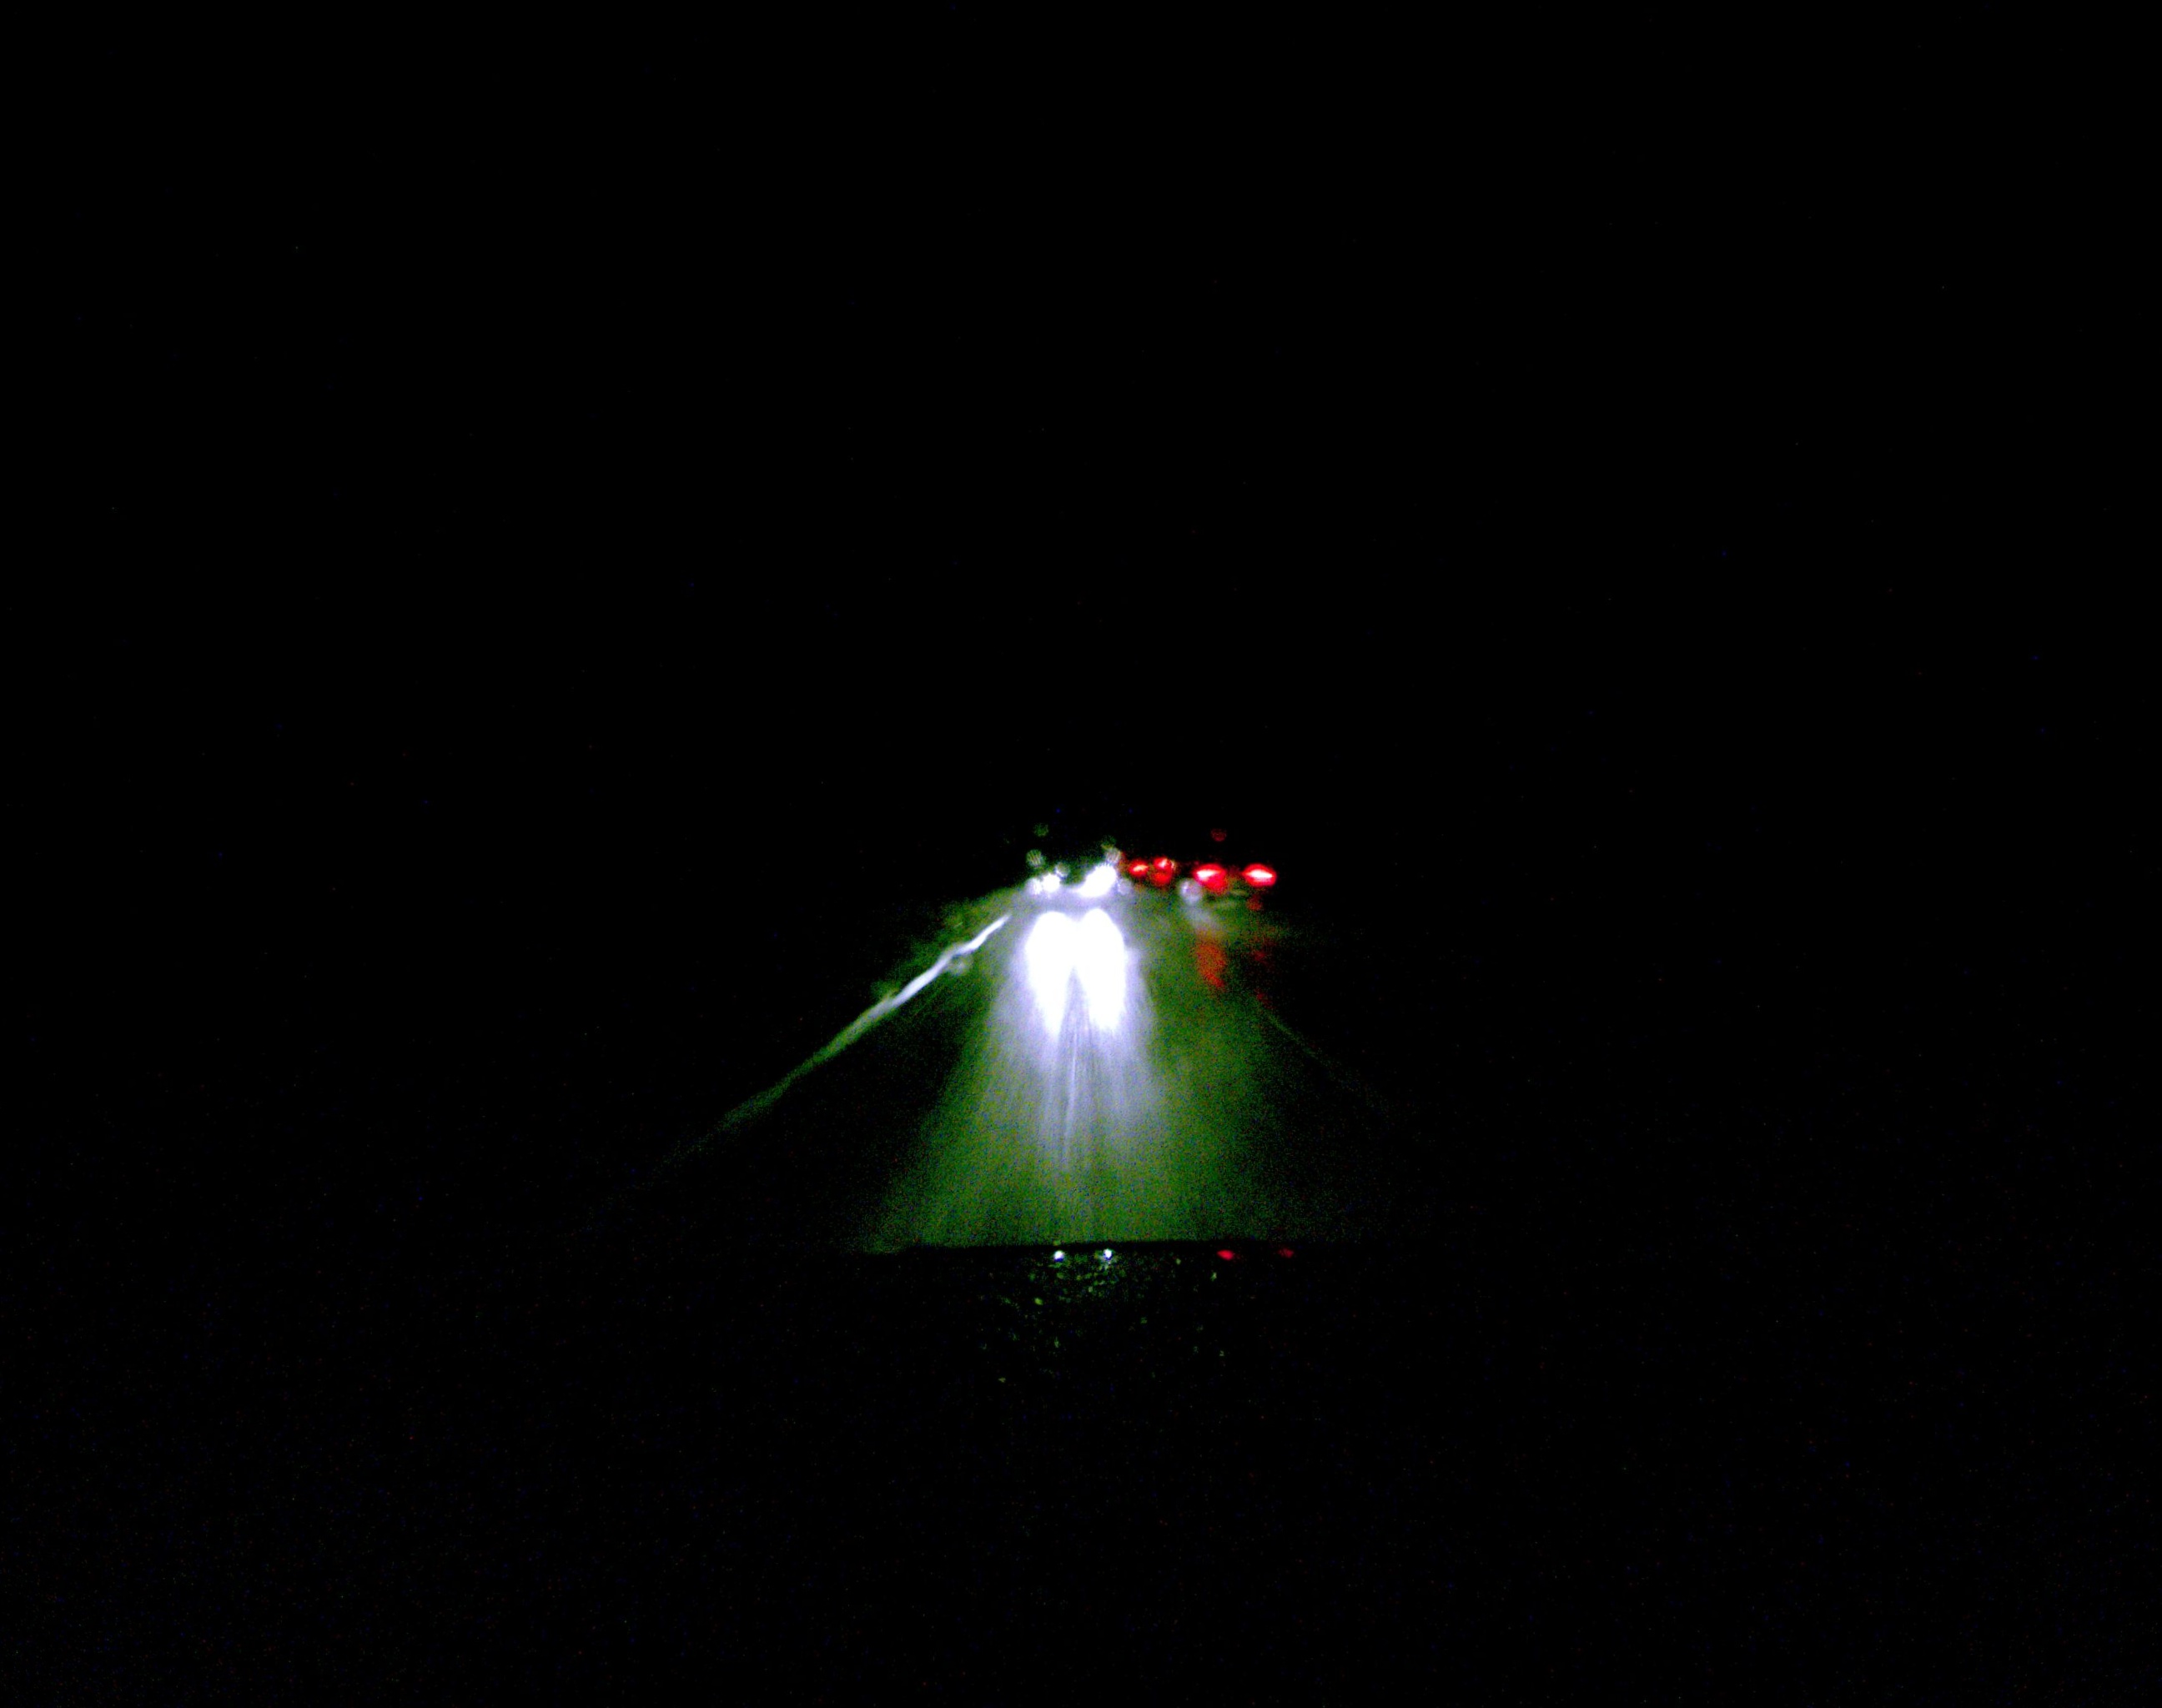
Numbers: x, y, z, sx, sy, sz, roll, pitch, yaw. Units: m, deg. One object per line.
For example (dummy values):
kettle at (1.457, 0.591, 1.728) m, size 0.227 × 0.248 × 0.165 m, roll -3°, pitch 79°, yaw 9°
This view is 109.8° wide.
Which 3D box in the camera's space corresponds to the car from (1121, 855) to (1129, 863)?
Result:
car at (10.392, 1.268, 179.545) m, size 1.840 × 1.833 × 4.001 m, roll 1°, pitch -1°, yaw 1°

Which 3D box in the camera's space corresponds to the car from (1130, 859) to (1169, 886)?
car at (4.065, 1.062, 45.756) m, size 1.980 × 1.507 × 4.347 m, roll 0°, pitch 0°, yaw 0°

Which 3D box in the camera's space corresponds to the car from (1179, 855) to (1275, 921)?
car at (3.666, 0.798, 19.658) m, size 1.790 × 1.501 × 3.600 m, roll -1°, pitch 0°, yaw 0°

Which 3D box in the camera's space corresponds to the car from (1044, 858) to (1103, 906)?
car at (-0.180, 0.910, 26.299) m, size 1.744 × 1.501 × 3.601 m, roll -2°, pitch 0°, yaw 3°
